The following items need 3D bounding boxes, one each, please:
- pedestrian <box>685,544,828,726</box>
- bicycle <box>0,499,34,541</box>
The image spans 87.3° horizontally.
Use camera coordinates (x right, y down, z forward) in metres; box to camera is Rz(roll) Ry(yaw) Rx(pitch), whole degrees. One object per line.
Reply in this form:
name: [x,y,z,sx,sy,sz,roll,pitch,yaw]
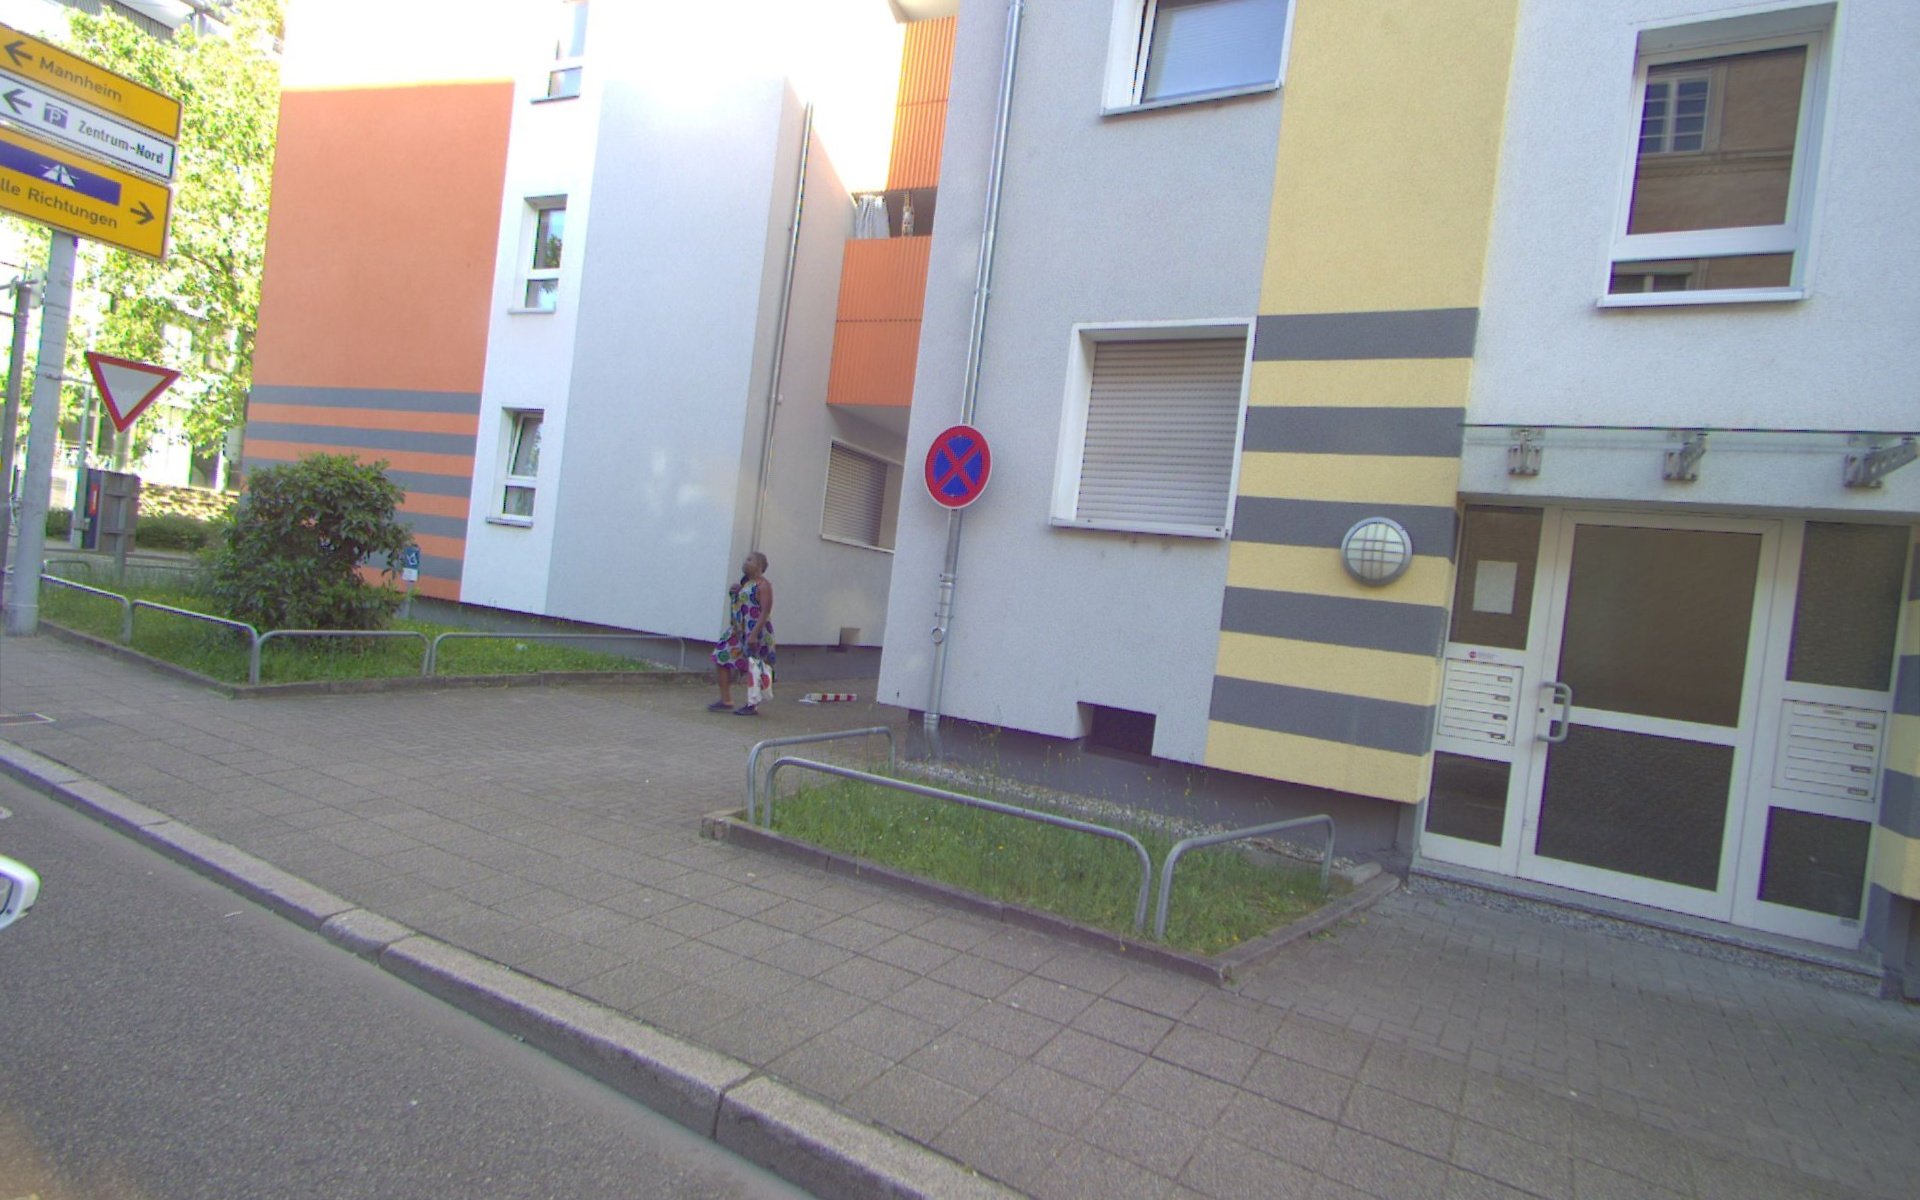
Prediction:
pedestrian: [-1.977,0.331,9.782,0.941,1.593,0.749,8,2,31]
bicycle: [-26.423,-2.257,27.281,1.883,1.062,0.463,7,1,-10]
